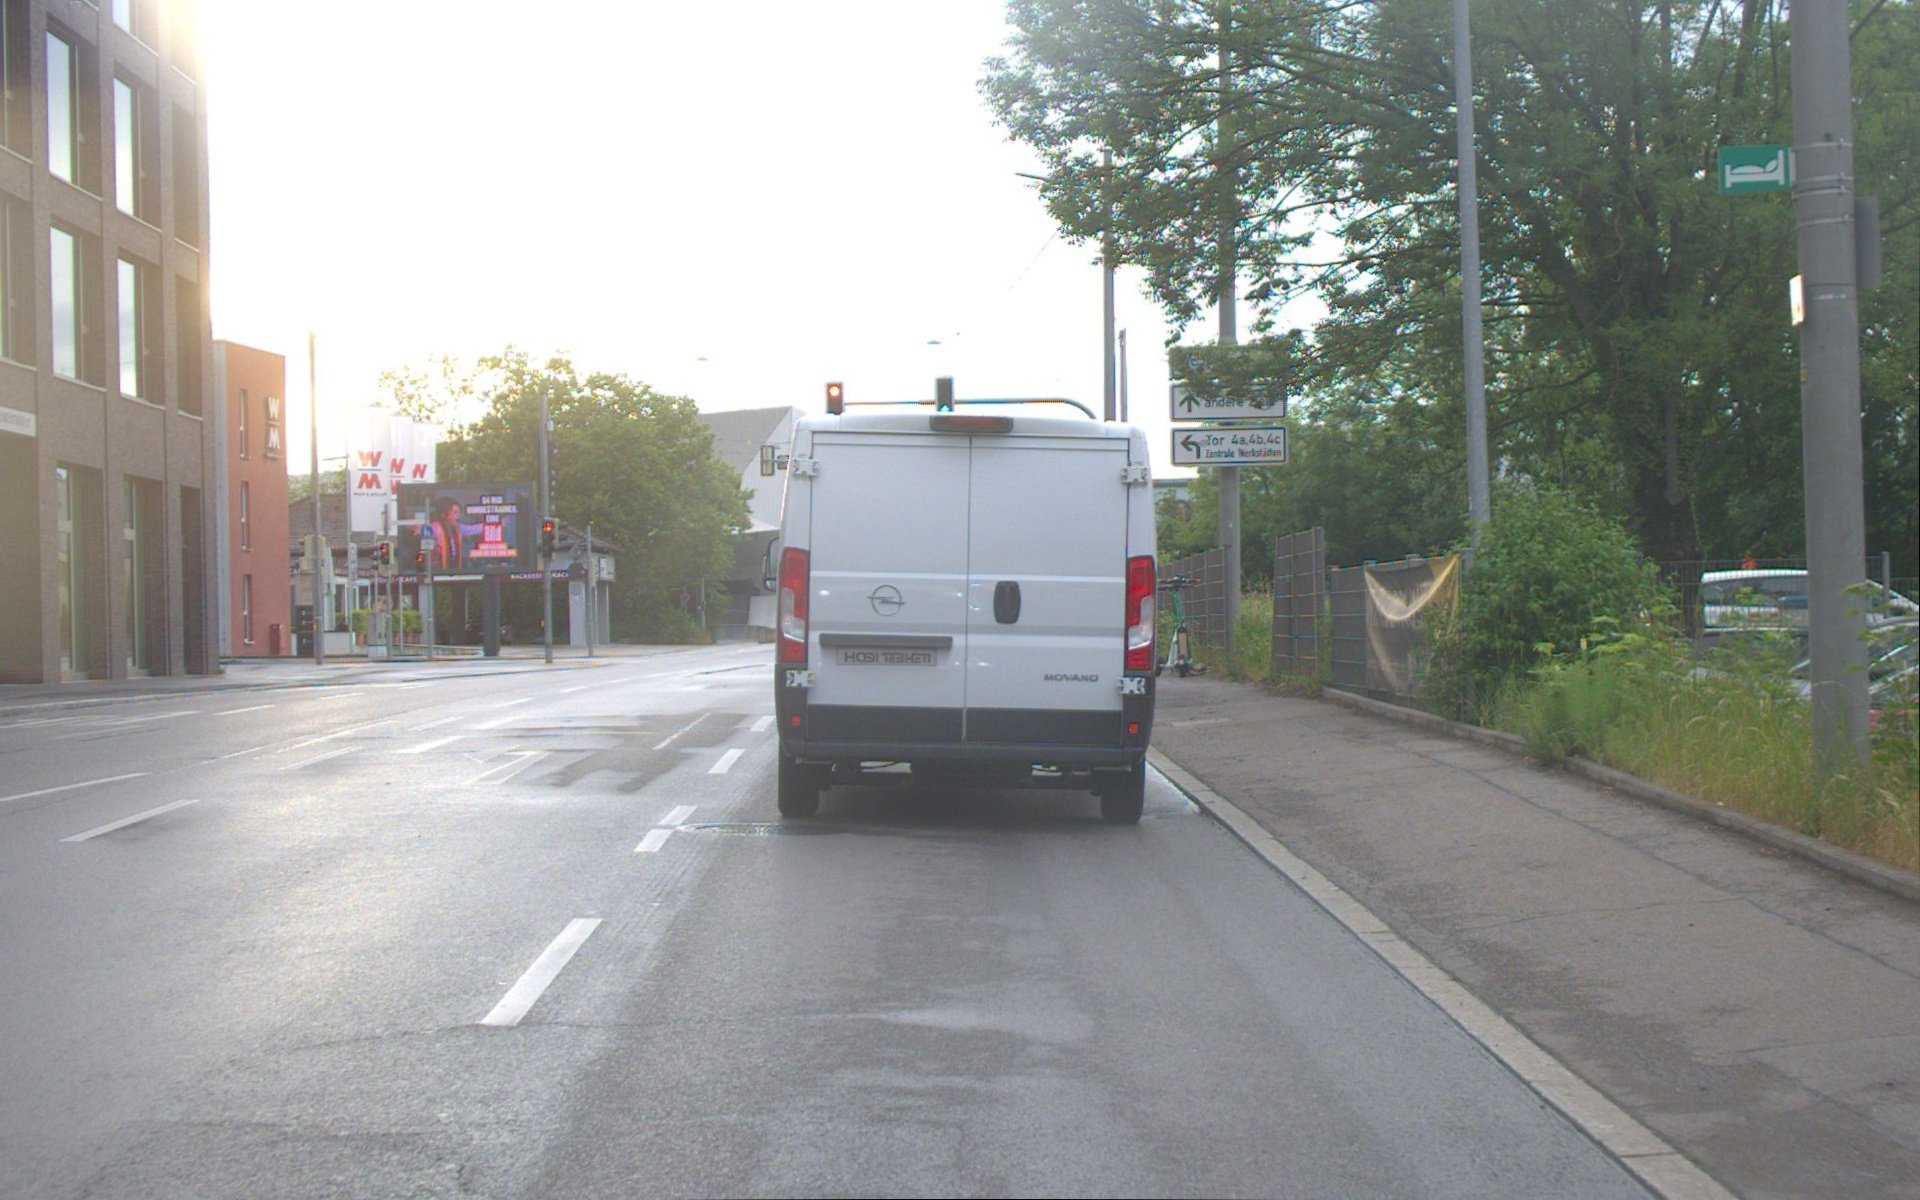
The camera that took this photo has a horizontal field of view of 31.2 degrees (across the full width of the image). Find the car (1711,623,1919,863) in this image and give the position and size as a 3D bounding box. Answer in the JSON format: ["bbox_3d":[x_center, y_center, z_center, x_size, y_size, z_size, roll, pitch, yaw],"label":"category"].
[{"bbox_3d":[7.292,0.933,23.336,3.987,1.516,1.804,0,1,-1],"label":"car"}]

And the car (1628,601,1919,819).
[{"bbox_3d":[7.213,0.785,25.746,3.986,1.516,1.804,0,1,-5],"label":"car"}]

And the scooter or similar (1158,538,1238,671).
[{"bbox_3d":[2.872,0.041,41.613,0.434,1.582,1.273,-1,1,-23],"label":"scooter or similar"}]

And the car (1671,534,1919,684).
[{"bbox_3d":[10.849,0.053,41.503,3.986,1.516,1.804,-5,1,-5],"label":"car"}]

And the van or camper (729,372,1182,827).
[{"bbox_3d":[-0.019,-0.066,20.378,2.340,2.349,5.200,0,1,0],"label":"van or camper"}]

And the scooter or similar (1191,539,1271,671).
[{"bbox_3d":[3.288,0.048,41.791,0.434,1.559,1.273,-1,1,-22],"label":"scooter or similar"}]

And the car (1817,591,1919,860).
[{"bbox_3d":[7.377,0.713,20.672,3.987,1.516,1.804,0,1,-1],"label":"car"}]
